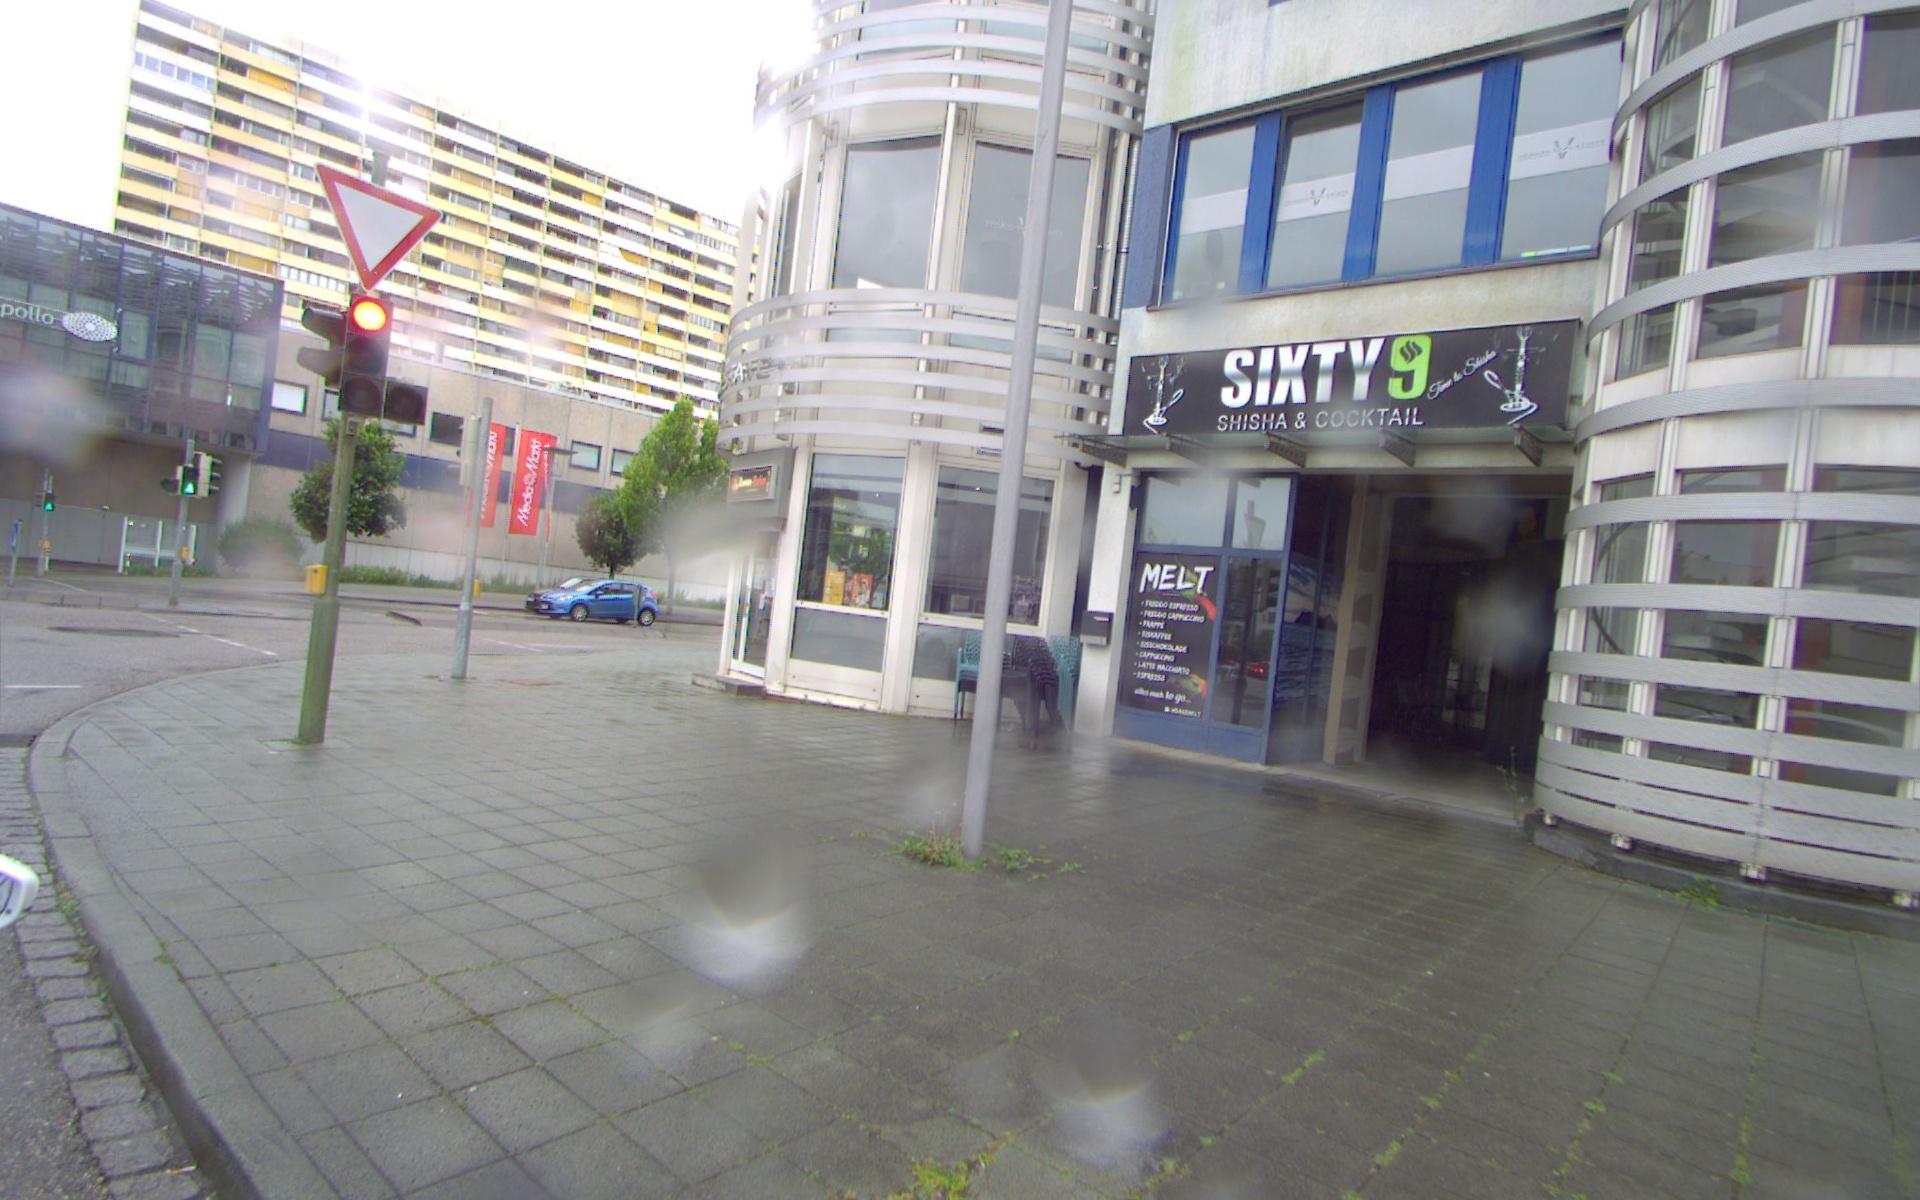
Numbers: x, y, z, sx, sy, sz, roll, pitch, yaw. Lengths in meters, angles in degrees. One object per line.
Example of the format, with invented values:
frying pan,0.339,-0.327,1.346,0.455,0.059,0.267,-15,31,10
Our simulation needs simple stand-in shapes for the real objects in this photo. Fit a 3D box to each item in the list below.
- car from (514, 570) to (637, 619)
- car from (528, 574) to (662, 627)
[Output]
car,-13.753,-0.167,36.080,1.720,1.412,3.677,5,0,41
car,-12.068,0.038,33.428,1.655,1.415,3.837,5,0,40
